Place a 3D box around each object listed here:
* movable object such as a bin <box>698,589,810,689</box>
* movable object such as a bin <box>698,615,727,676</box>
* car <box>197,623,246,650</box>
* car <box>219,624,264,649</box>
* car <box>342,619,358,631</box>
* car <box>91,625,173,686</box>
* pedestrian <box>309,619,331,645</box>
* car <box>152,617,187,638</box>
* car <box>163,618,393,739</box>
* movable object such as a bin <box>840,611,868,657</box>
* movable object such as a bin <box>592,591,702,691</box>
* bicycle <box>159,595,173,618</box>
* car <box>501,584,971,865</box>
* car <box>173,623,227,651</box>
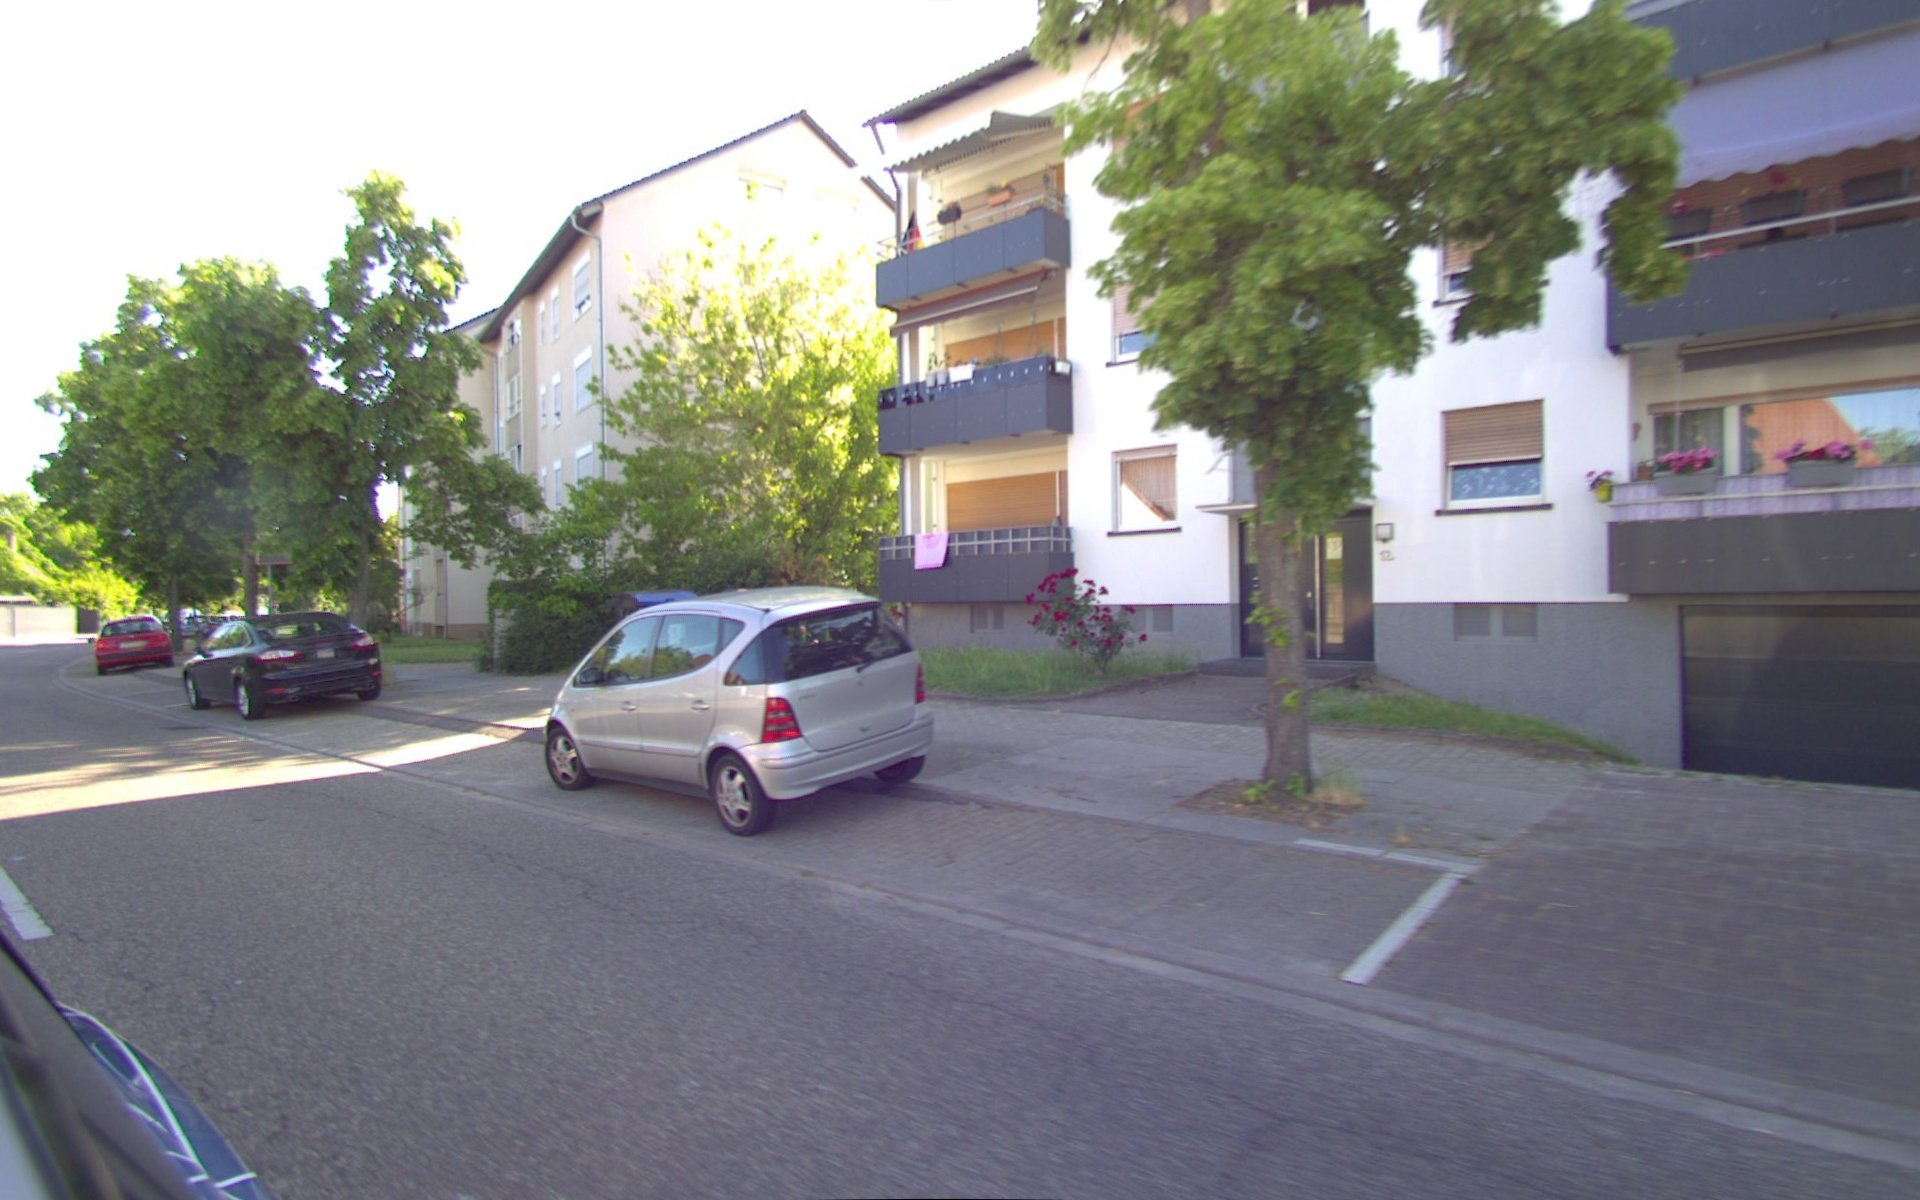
[{"bbox_3d":[-3.396,0.623,16.692,1.327,1.555,1.276,-2,-1,43],"label":"movable object such as a bin"},{"bbox_3d":[-4.523,0.823,18.496,0.350,1.082,0.369,-2,-1,41],"label":"movable object such as a bin"},{"bbox_3d":[-44.883,2.232,61.605,1.624,1.551,3.716,0,-2,-23],"label":"car"},{"bbox_3d":[-46.504,2.359,65.564,1.624,1.551,3.716,0,-2,-23],"label":"car"},{"bbox_3d":[-77.330,3.233,128.329,1.521,1.476,3.715,0,-2,-27],"label":"car"},{"bbox_3d":[-23.664,1.526,28.904,1.637,1.505,3.914,-4,2,-40],"label":"car"},{"bbox_3d":[-40.086,1.995,63.401,0.946,1.641,0.734,0,-1,-11],"label":"pedestrian"},{"bbox_3d":[-63.885,2.216,81.827,1.613,1.590,3.715,0,-2,-27],"label":"car"},{"bbox_3d":[-10.934,1.145,16.092,4.539,1.504,1.705,-2,4,40],"label":"car"},{"bbox_3d":[-2.185,0.694,20.864,0.372,0.927,0.410,-2,-1,41],"label":"movable object such as a bin"},{"bbox_3d":[-5.538,0.698,17.910,1.267,1.675,1.398,-2,-1,43],"label":"movable object such as a bin"},{"bbox_3d":[-37.025,0.325,47.194,0.352,1.015,1.203,-1,-2,-31],"label":"bicycle"},{"bbox_3d":[-1.967,0.797,8.175,3.909,1.604,1.704,-2,4,43],"label":"car"},{"bbox_3d":[-43.044,2.083,57.415,1.624,1.551,3.716,0,-2,-23],"label":"car"}]
